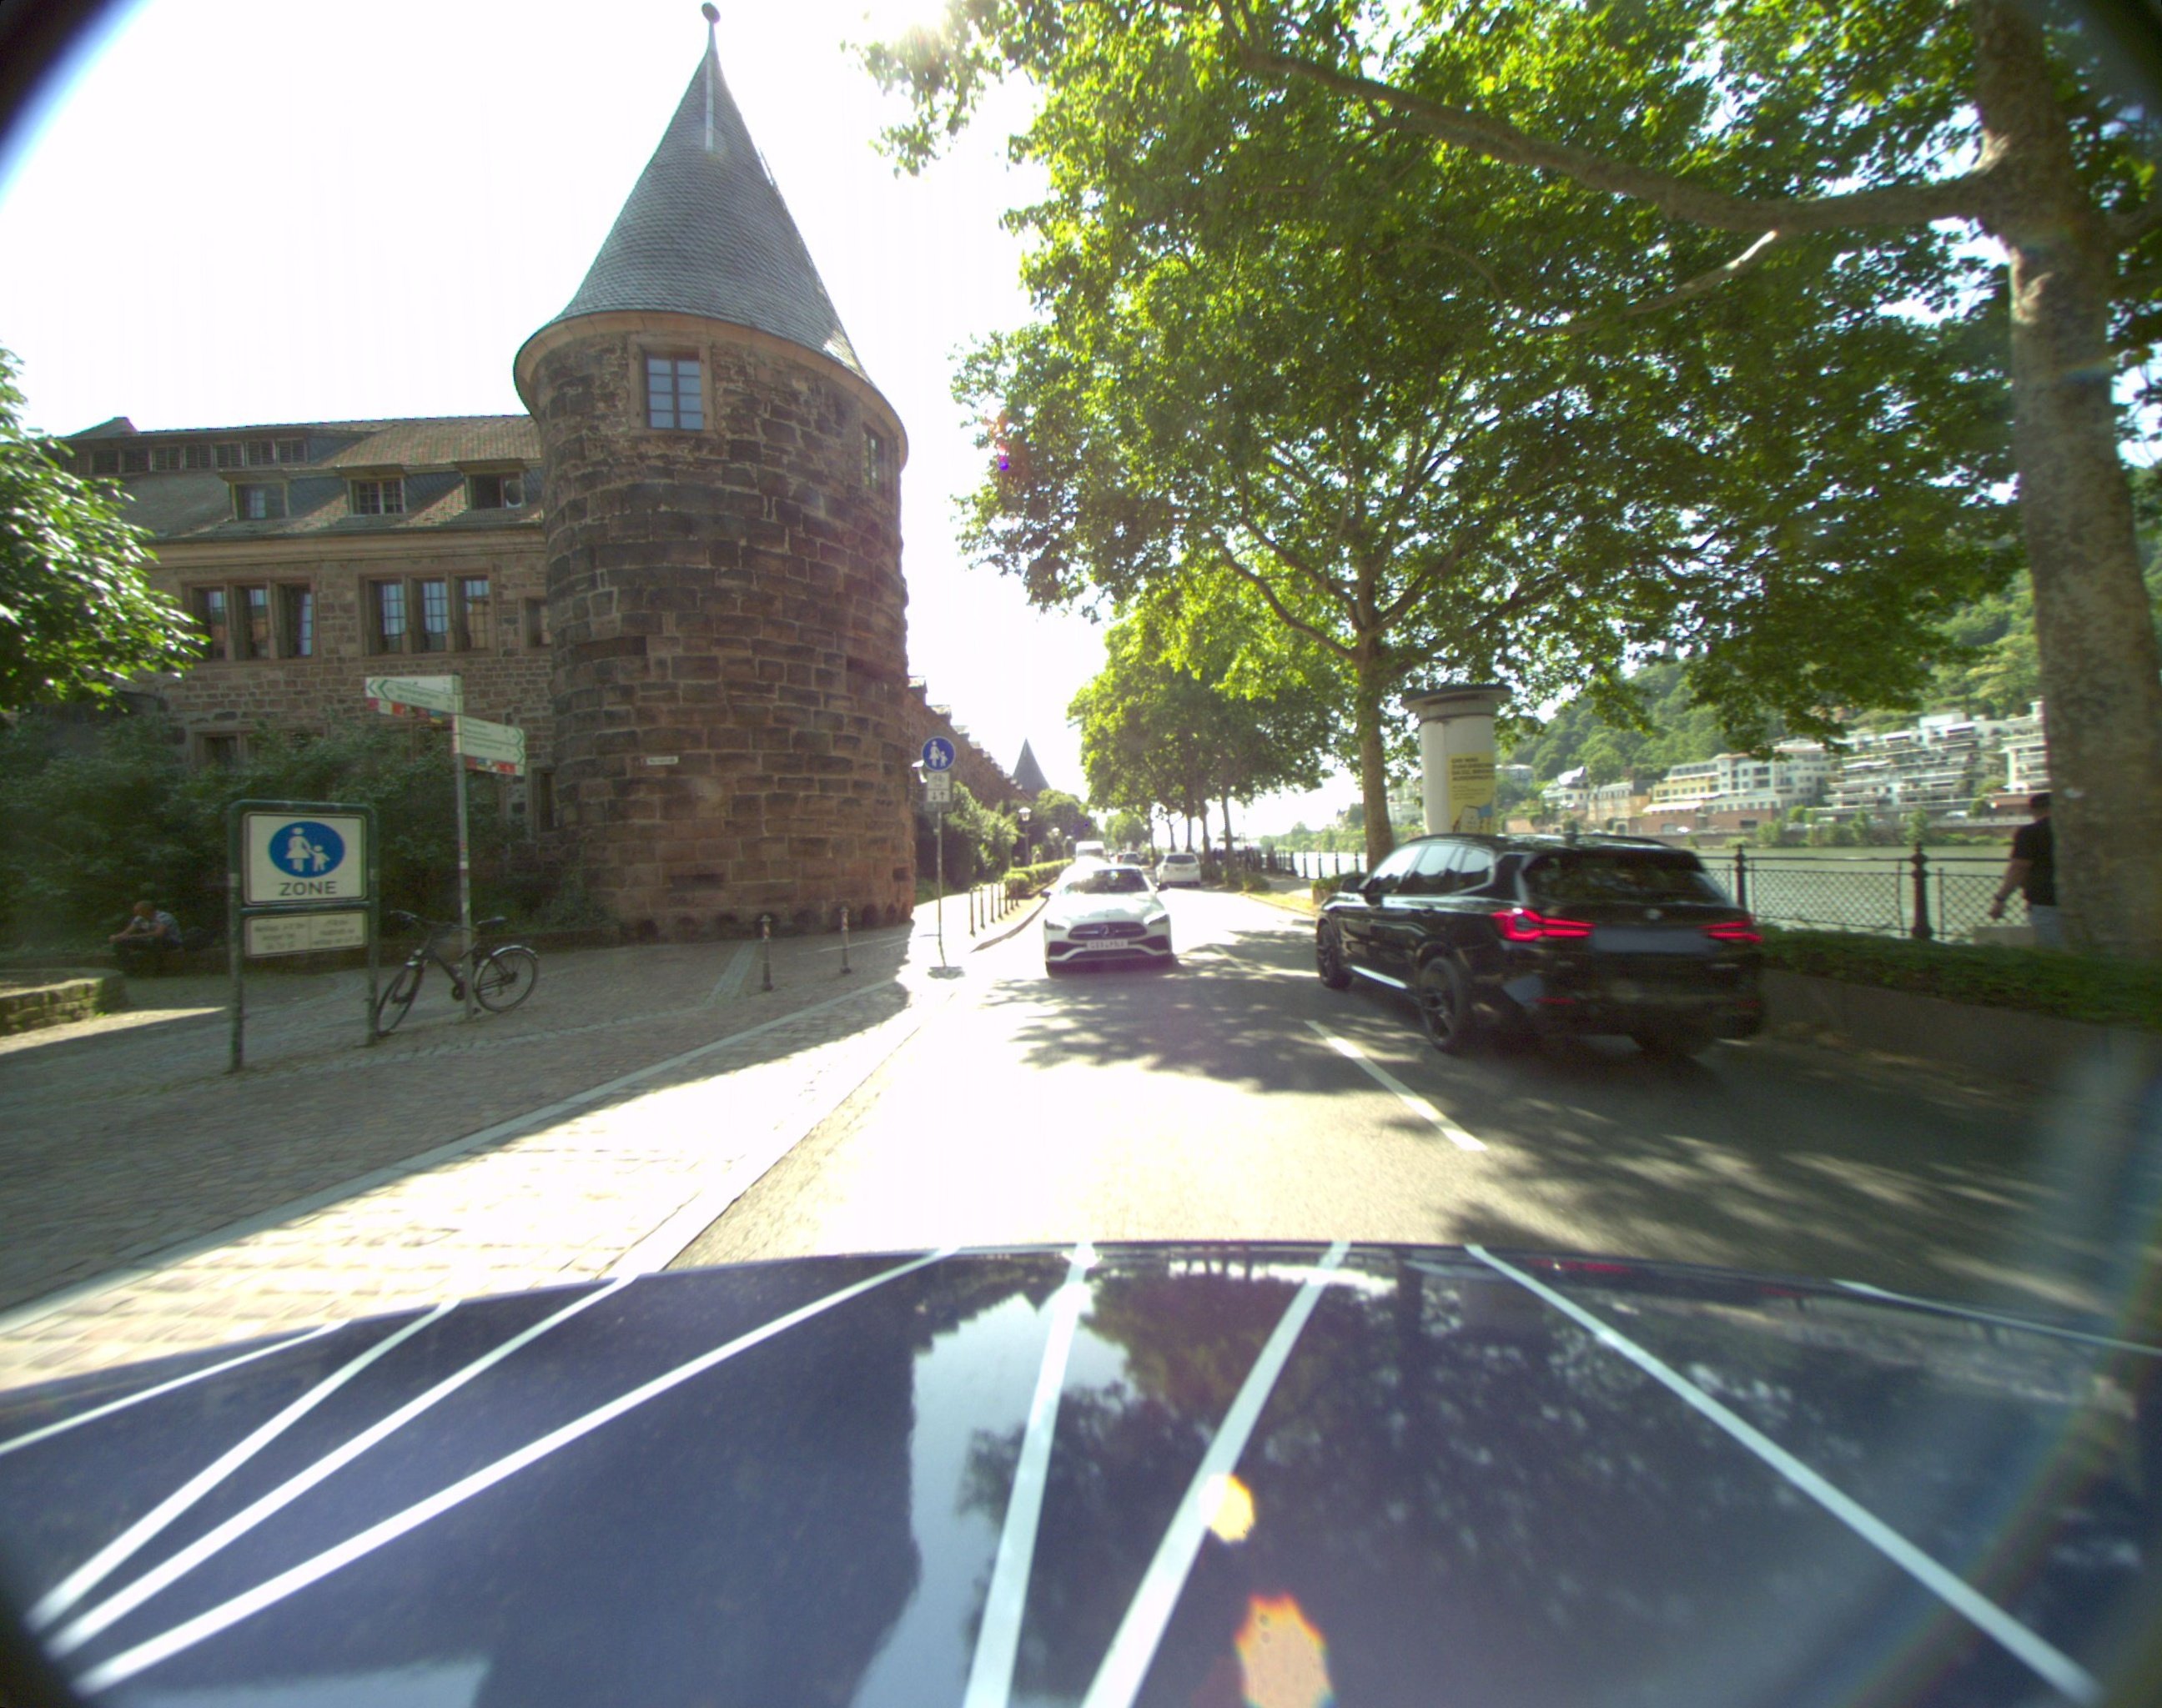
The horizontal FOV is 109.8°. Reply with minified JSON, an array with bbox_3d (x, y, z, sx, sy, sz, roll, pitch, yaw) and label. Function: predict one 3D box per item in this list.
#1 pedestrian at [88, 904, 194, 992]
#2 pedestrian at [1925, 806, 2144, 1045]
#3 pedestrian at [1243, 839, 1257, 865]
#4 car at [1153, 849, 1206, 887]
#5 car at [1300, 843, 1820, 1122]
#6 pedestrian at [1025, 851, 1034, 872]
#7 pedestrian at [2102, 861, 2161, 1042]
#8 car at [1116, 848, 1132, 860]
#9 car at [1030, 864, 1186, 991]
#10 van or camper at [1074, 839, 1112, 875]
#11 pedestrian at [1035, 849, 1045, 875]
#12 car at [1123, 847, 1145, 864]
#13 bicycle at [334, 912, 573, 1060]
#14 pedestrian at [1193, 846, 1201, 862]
[{"bbox_3d":[-14.470,1.422,11.721,0.667,1.224,0.781,-3,1,-19],"label":"pedestrian"},{"bbox_3d":[7.345,0.519,5.892,0.760,1.720,0.730,-2,1,1],"label":"pedestrian"},{"bbox_3d":[11.535,-0.142,51.789,0.760,1.697,0.730,-2,1,1],"label":"pedestrian"},{"bbox_3d":[4.584,0.619,35.935,1.998,1.598,4.257,-2,1,1],"label":"car"},{"bbox_3d":[3.561,0.792,6.945,1.875,1.661,4.745,-1,0,2],"label":"car"},{"bbox_3d":[-4.074,0.589,60.259,0.592,1.662,0.441,-2,1,1],"label":"pedestrian"},{"bbox_3d":[8.263,0.721,5.632,0.633,1.312,0.553,-2,1,1],"label":"pedestrian"},{"bbox_3d":[5.882,-0.015,104.318,1.998,1.598,4.257,-2,1,1],"label":"car"},{"bbox_3d":[0.364,0.934,11.652,1.875,1.416,4.744,-1,1,1],"label":"car"},{"bbox_3d":[0.807,0.170,53.551,2.437,2.271,6.203,-2,1,1],"label":"van or camper"},{"bbox_3d":[-2.966,0.560,55.406,0.556,1.844,1.023,-2,1,1],"label":"pedestrian"},{"bbox_3d":[5.442,0.110,78.540,1.998,1.598,4.257,-2,1,1],"label":"car"},{"bbox_3d":[-6.284,1.265,7.785,0.845,1.146,1.844,-2,1,1],"label":"bicycle"},{"bbox_3d":[12.308,0.000,80.758,0.760,1.697,0.730,-1,1,3],"label":"pedestrian"}]
